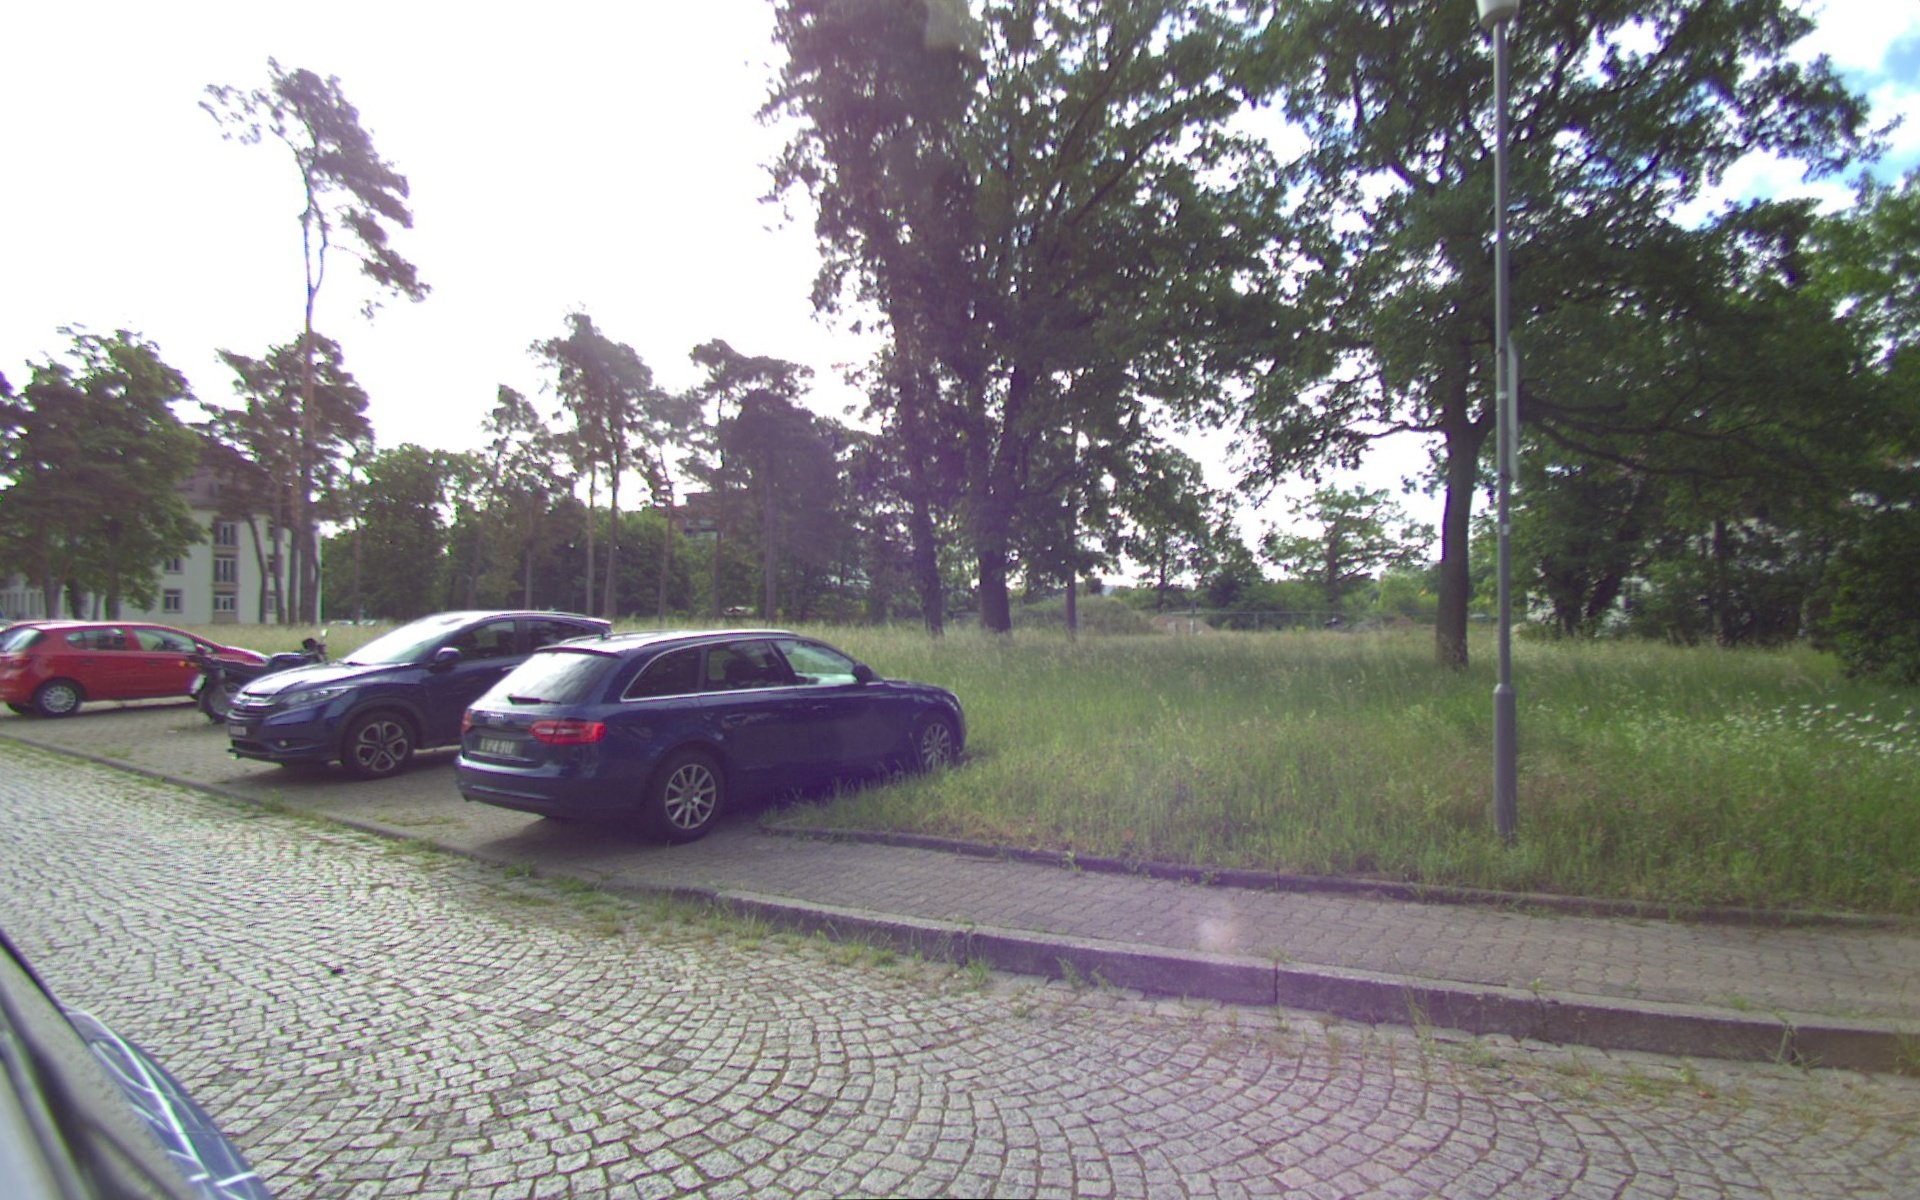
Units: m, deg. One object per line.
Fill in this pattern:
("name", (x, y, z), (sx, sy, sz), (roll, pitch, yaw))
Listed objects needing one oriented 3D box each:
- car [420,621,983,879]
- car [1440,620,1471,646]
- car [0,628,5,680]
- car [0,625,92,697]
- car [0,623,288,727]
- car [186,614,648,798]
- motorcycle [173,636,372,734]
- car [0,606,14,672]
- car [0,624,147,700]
("car", (-1.784, 0.946, 8.303), (1.680, 1.491, 4.389), (-2, -1, 38))
("car", (42.495, 2.798, 86.759), (2.032, 2.028, 4.184), (0, 2, 32))
("car", (-27.788, 1.516, 26.391), (1.737, 1.403, 3.889), (0, 2, 32))
("car", (-22.447, 1.376, 22.905), (1.815, 1.616, 3.876), (-1, -2, 32))
("car", (-13.908, 1.167, 17.161), (1.667, 1.490, 3.852), (-1, -1, 34))
("car", (-5.646, 0.951, 11.048), (1.785, 1.585, 4.105), (0, -1, 33))
("motorcycle", (-10.118, 1.200, 14.993), (0.742, 1.298, 2.335), (-1, -1, 34))
("car", (-29.792, 1.200, 28.087), (2.155, 1.880, 4.784), (0, 2, 32))
("car", (-20.057, 1.309, 21.598), (1.703, 1.532, 3.908), (-2, -2, 34))
